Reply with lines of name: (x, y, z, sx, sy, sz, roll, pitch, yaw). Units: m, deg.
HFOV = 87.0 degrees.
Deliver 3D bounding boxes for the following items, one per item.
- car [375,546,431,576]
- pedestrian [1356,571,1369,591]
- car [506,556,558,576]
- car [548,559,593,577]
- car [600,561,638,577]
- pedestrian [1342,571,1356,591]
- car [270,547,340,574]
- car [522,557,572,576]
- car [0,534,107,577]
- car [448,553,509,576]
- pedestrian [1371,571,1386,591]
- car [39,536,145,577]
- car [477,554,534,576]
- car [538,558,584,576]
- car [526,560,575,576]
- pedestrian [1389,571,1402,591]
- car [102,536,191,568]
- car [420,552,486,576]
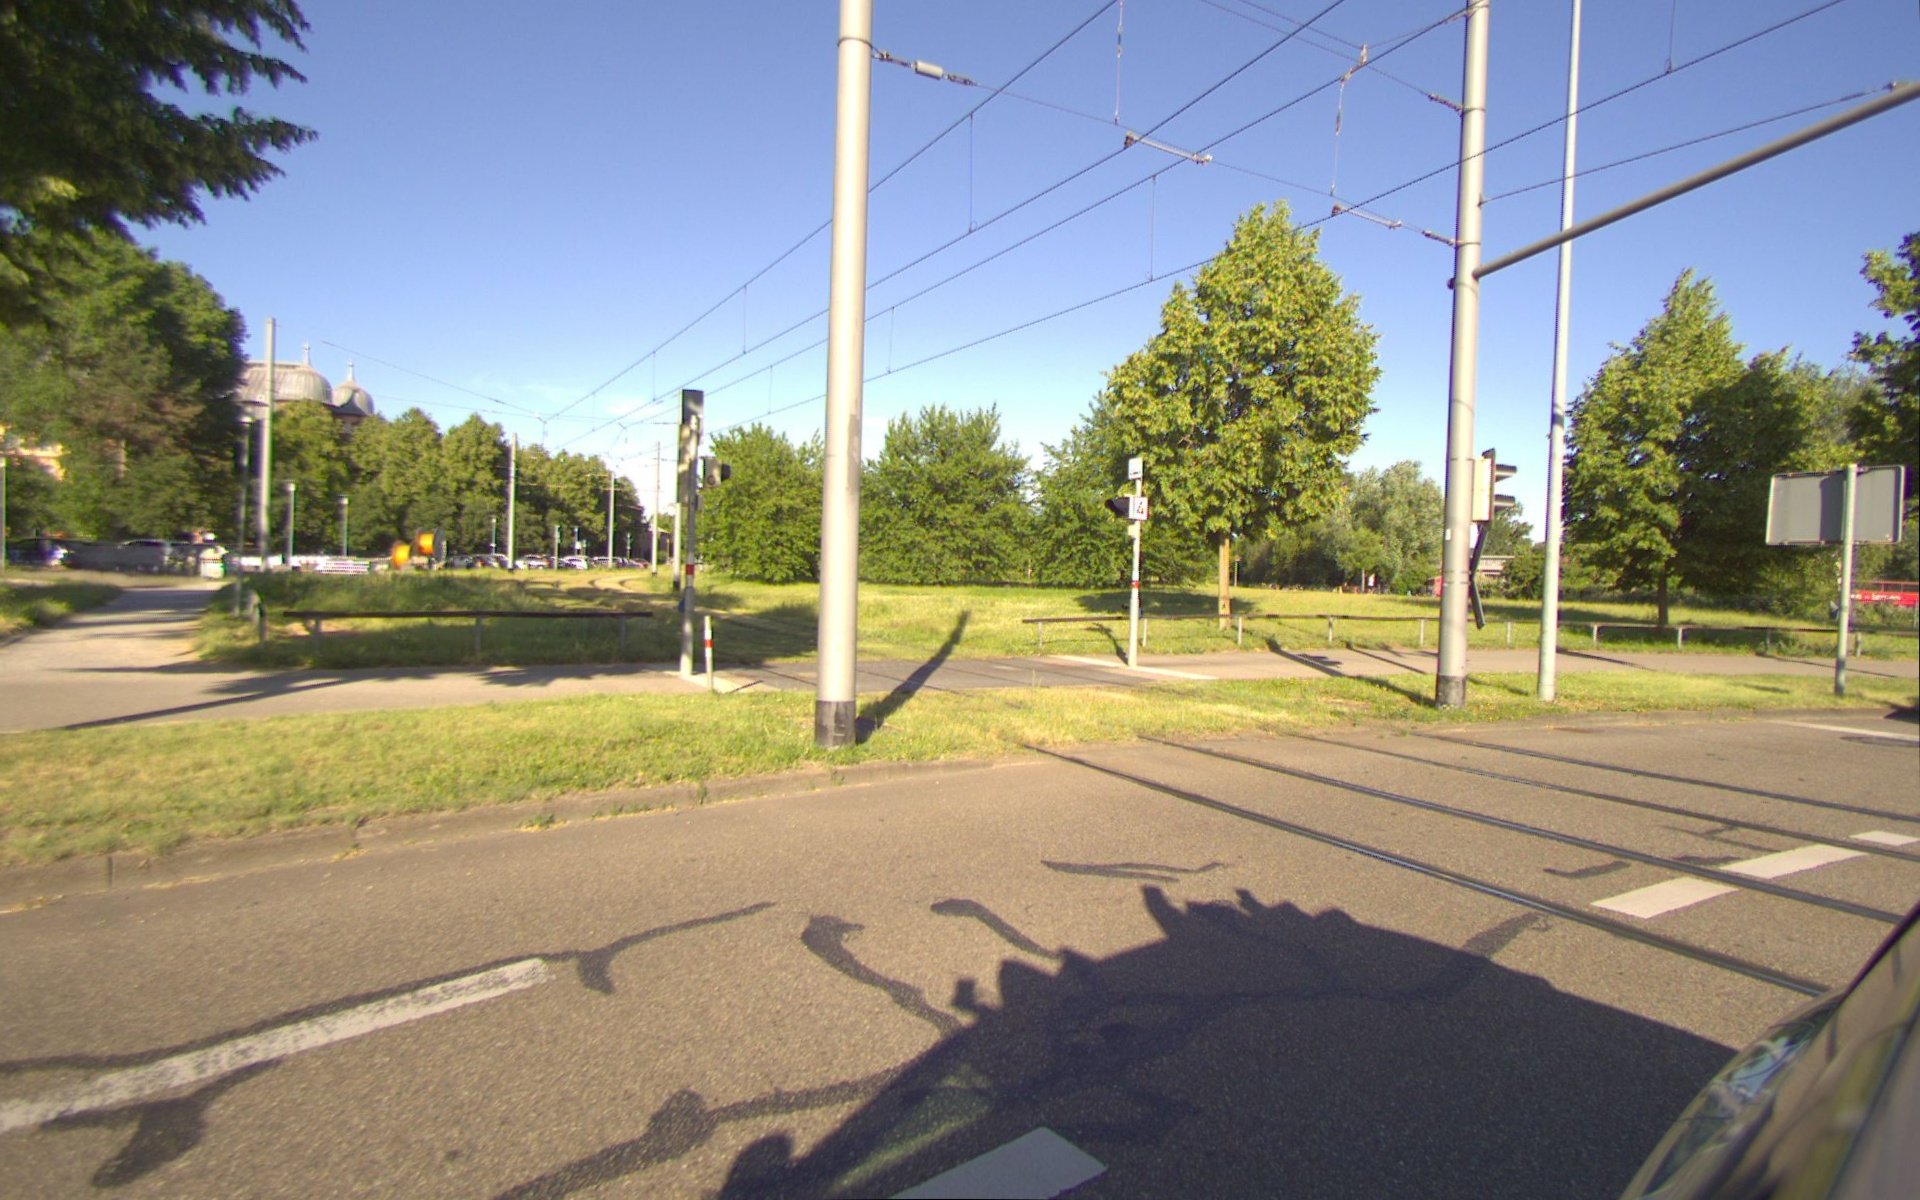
car: (-50.354, -3.523, 91.562, 3.920, 2.686, 2.002, -1, 1, -6)
pedestrian: (29.978, -1.413, 75.357, 0.684, 1.458, 0.783, 3, 2, 40)
car: (-38.503, -3.037, 91.064, 3.920, 1.778, 1.917, -1, 1, -6)
car: (-39.788, -3.307, 103.510, 3.920, 1.778, 1.917, -1, 1, -6)
car: (-40.772, -3.692, 121.042, 3.920, 1.778, 1.917, -1, 1, -6)
pedestrian: (29.322, -1.428, 76.256, 0.684, 1.458, 0.783, 3, 2, 40)
car: (-49.348, -2.964, 76.339, 3.920, 1.919, 2.003, -1, 1, -6)
car: (-38.228, -3.099, 93.712, 3.920, 1.778, 1.917, -1, 1, -6)
car: (-46.543, -2.272, 51.839, 3.920, 2.126, 2.003, -1, 1, -6)
car: (-37.644, -2.778, 79.207, 3.920, 1.778, 1.917, -1, 1, -6)
pedestrian: (31.040, -1.414, 75.033, 0.771, 1.458, 0.783, 3, 2, 40)
car: (-46.899, -2.335, 54.763, 3.920, 2.126, 2.003, -1, 1, -6)
car: (-37.787, -2.890, 84.248, 3.920, 1.778, 1.917, -1, 1, -6)
car: (-39.445, -3.233, 100.090, 3.920, 1.778, 1.917, -1, 1, -6)
car: (-38.856, -3.008, 96.065, 3.920, 1.501, 1.917, -1, 1, -6)
pedestrian: (31.828, -1.396, 73.956, 0.659, 1.458, 0.783, 3, 2, 40)
car: (-47.671, -2.809, 59.342, 3.772, 1.801, 1.695, 0, 1, -2)
car: (-37.818, -2.694, 75.525, 3.920, 1.778, 2.003, -1, 1, -6)
